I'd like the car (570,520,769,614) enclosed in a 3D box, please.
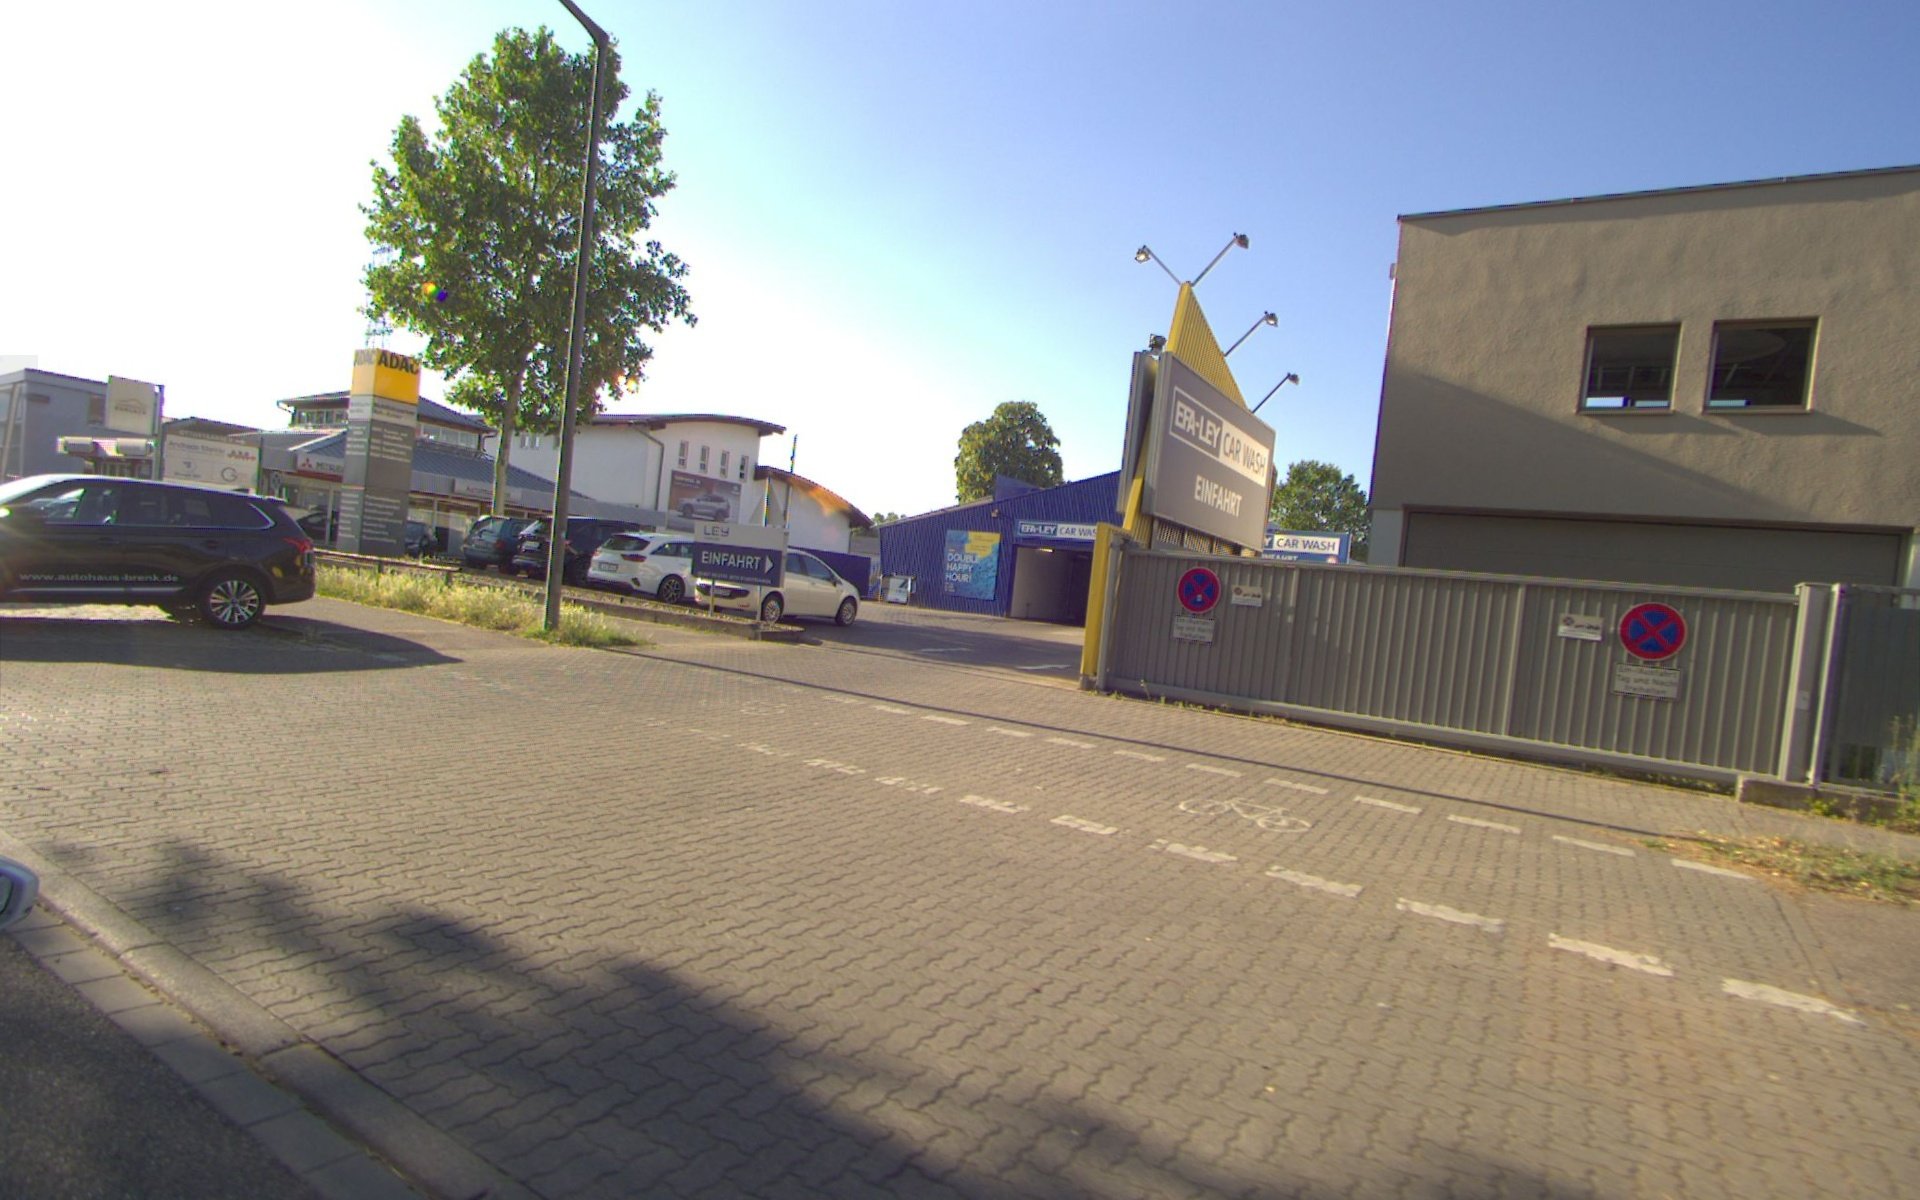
[{"bbox_3d":[-6.365,-0.682,22.499,1.919,1.537,3.996,6,-1,28],"label":"car"}]

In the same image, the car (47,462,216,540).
[{"bbox_3d":[-28.706,-3.400,34.980,2.165,1.922,3.937,10,2,32],"label":"car"}]

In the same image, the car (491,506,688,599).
[{"bbox_3d":[-8.675,-1.076,23.901,1.965,1.614,3.996,6,-1,28],"label":"car"}]

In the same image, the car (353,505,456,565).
[{"bbox_3d":[-20.958,-2.387,38.144,1.966,1.759,3.995,7,-1,-8],"label":"car"}]

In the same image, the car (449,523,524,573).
[{"bbox_3d":[-19.323,-2.067,41.237,1.708,1.652,3.573,7,-1,-9],"label":"car"}]

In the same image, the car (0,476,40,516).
[{"bbox_3d":[-50.500,-5.566,52.935,3.934,1.821,1.996,6,-1,32],"label":"car"}]

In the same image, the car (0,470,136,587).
[{"bbox_3d":[-14.825,-1.107,14.158,1.967,1.635,4.599,6,3,32],"label":"car"}]

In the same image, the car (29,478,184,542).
[{"bbox_3d":[-30.740,-3.218,36.327,2.165,1.925,3.797,7,4,32],"label":"car"}]

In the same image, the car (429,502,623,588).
[{"bbox_3d":[-10.709,-1.317,25.121,1.965,1.537,3.996,6,-1,28],"label":"car"}]

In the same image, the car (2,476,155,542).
[{"bbox_3d":[-32.967,-3.362,37.739,1.758,1.922,3.906,4,-1,32],"label":"car"}]

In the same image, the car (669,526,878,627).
[{"bbox_3d":[-3.638,-0.408,20.347,1.965,1.515,3.996,6,-1,28],"label":"car"}]

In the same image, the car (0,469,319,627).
[{"bbox_3d":[-10.192,-0.604,11.333,1.968,1.601,4.596,6,3,34],"label":"car"}]

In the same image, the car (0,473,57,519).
[{"bbox_3d":[-42.174,-4.633,43.572,1.967,1.795,4.144,6,2,32],"label":"car"}]

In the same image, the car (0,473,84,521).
[{"bbox_3d":[-39.681,-4.408,42.215,1.967,1.682,3.987,6,2,32],"label":"car"}]

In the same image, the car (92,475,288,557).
[{"bbox_3d":[-24.997,-2.687,32.818,2.166,1.921,4.502,6,-1,32],"label":"car"}]

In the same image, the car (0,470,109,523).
[{"bbox_3d":[-37.048,-4.177,40.386,1.967,1.719,3.987,6,2,32],"label":"car"}]
